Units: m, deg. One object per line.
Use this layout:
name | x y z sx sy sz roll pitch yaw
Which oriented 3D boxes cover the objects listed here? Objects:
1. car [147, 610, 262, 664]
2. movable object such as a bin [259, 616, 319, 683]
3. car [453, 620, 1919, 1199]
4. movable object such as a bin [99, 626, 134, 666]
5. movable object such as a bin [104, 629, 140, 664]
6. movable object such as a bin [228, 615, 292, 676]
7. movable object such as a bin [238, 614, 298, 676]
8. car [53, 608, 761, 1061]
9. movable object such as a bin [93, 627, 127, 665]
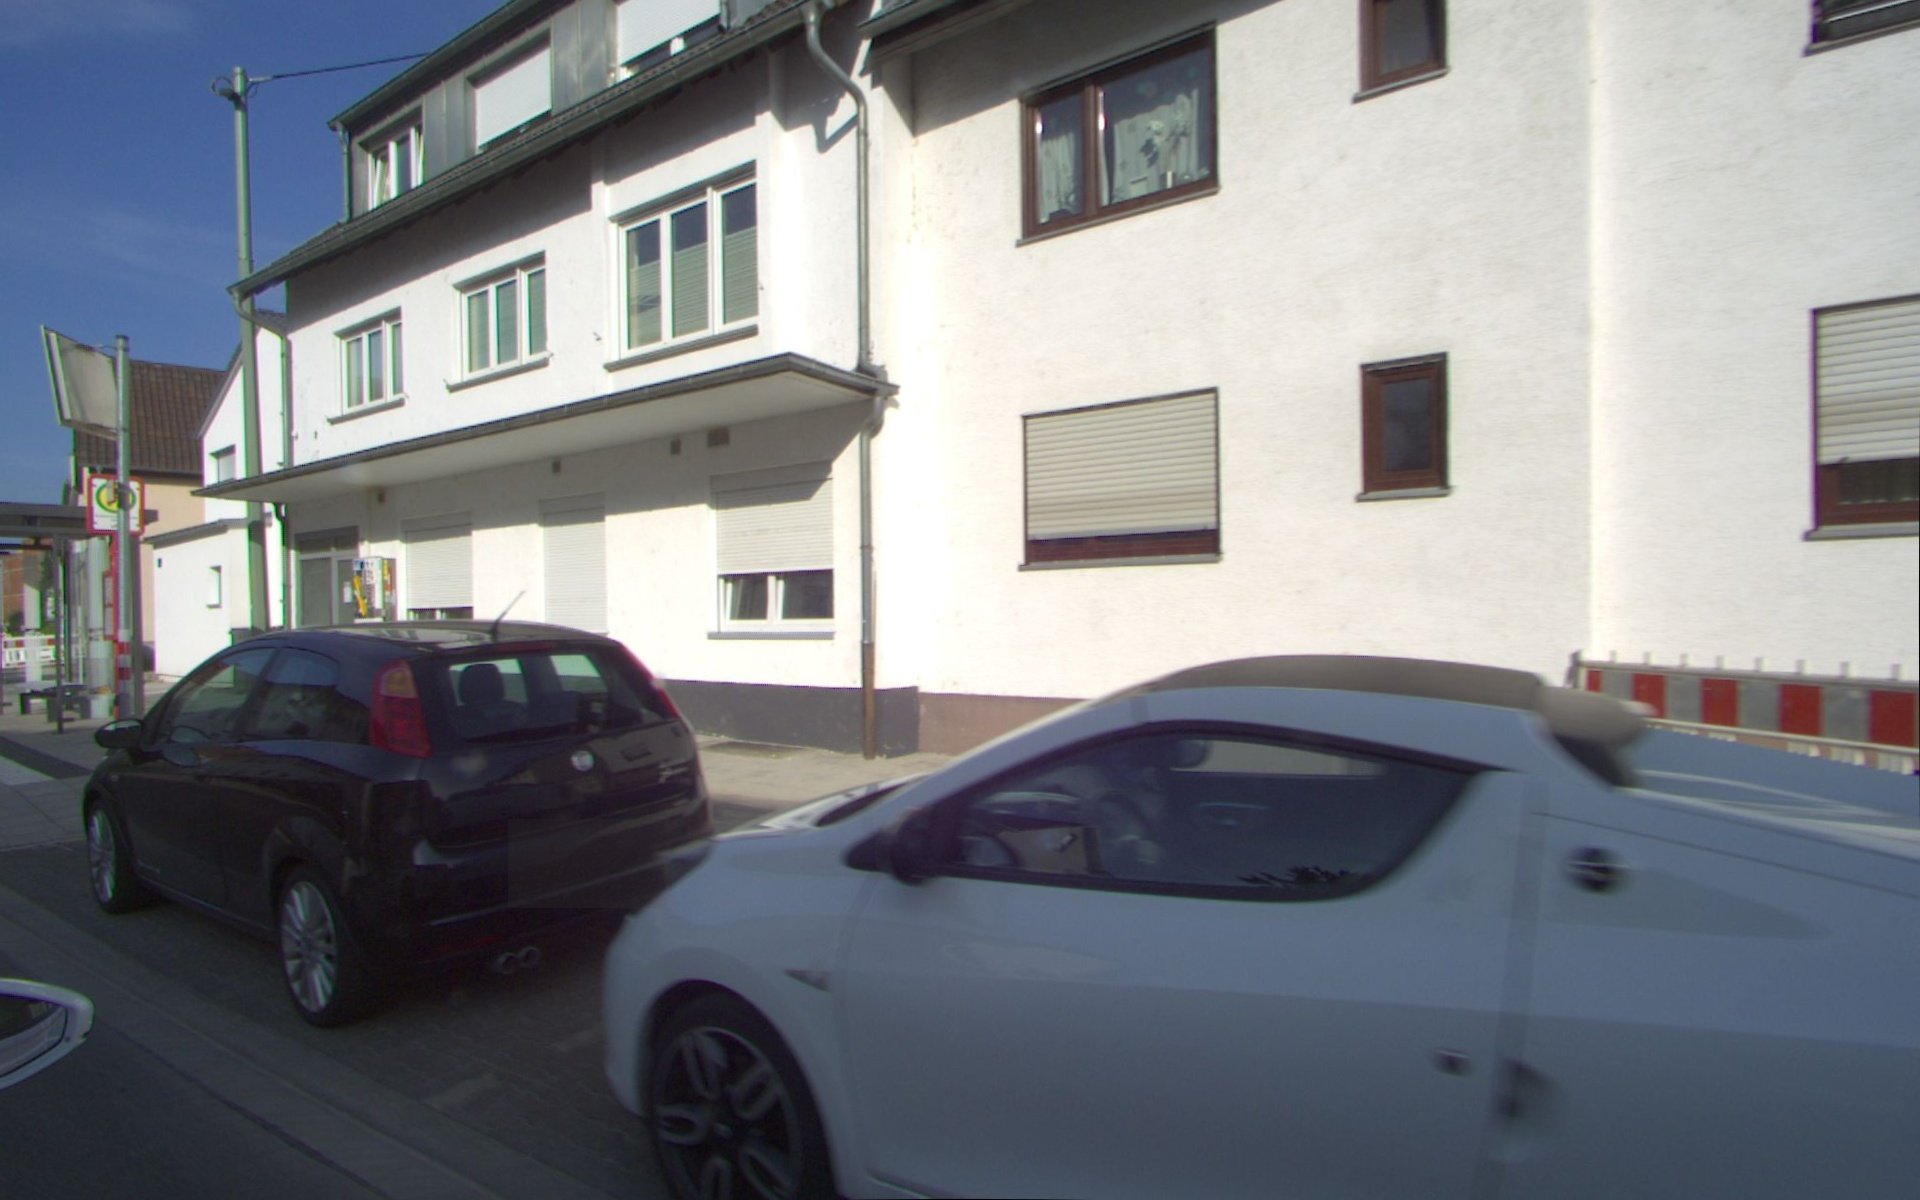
car | -22.110 1.035 29.475 1.634 1.426 3.967 -2 0 -21
movable object such as a bin | -11.541 0.841 17.229 0.552 1.108 0.693 -1 1 38
car | 0.822 0.783 2.450 4.271 1.417 1.711 -1 1 32
movable object such as a bin | -24.466 1.321 29.054 0.548 1.146 0.723 -1 -1 44
movable object such as a bin | -23.621 1.297 28.219 0.548 0.971 0.723 -1 -1 44
movable object such as a bin | -13.272 0.840 18.978 0.759 1.108 0.808 -1 1 40
movable object such as a bin | -12.817 0.815 18.563 0.438 1.108 0.808 -1 1 40
car | -2.917 0.784 4.979 3.868 1.439 1.603 -1 -1 36
movable object such as a bin | -25.378 1.367 29.909 0.619 1.107 0.723 -1 -1 44
